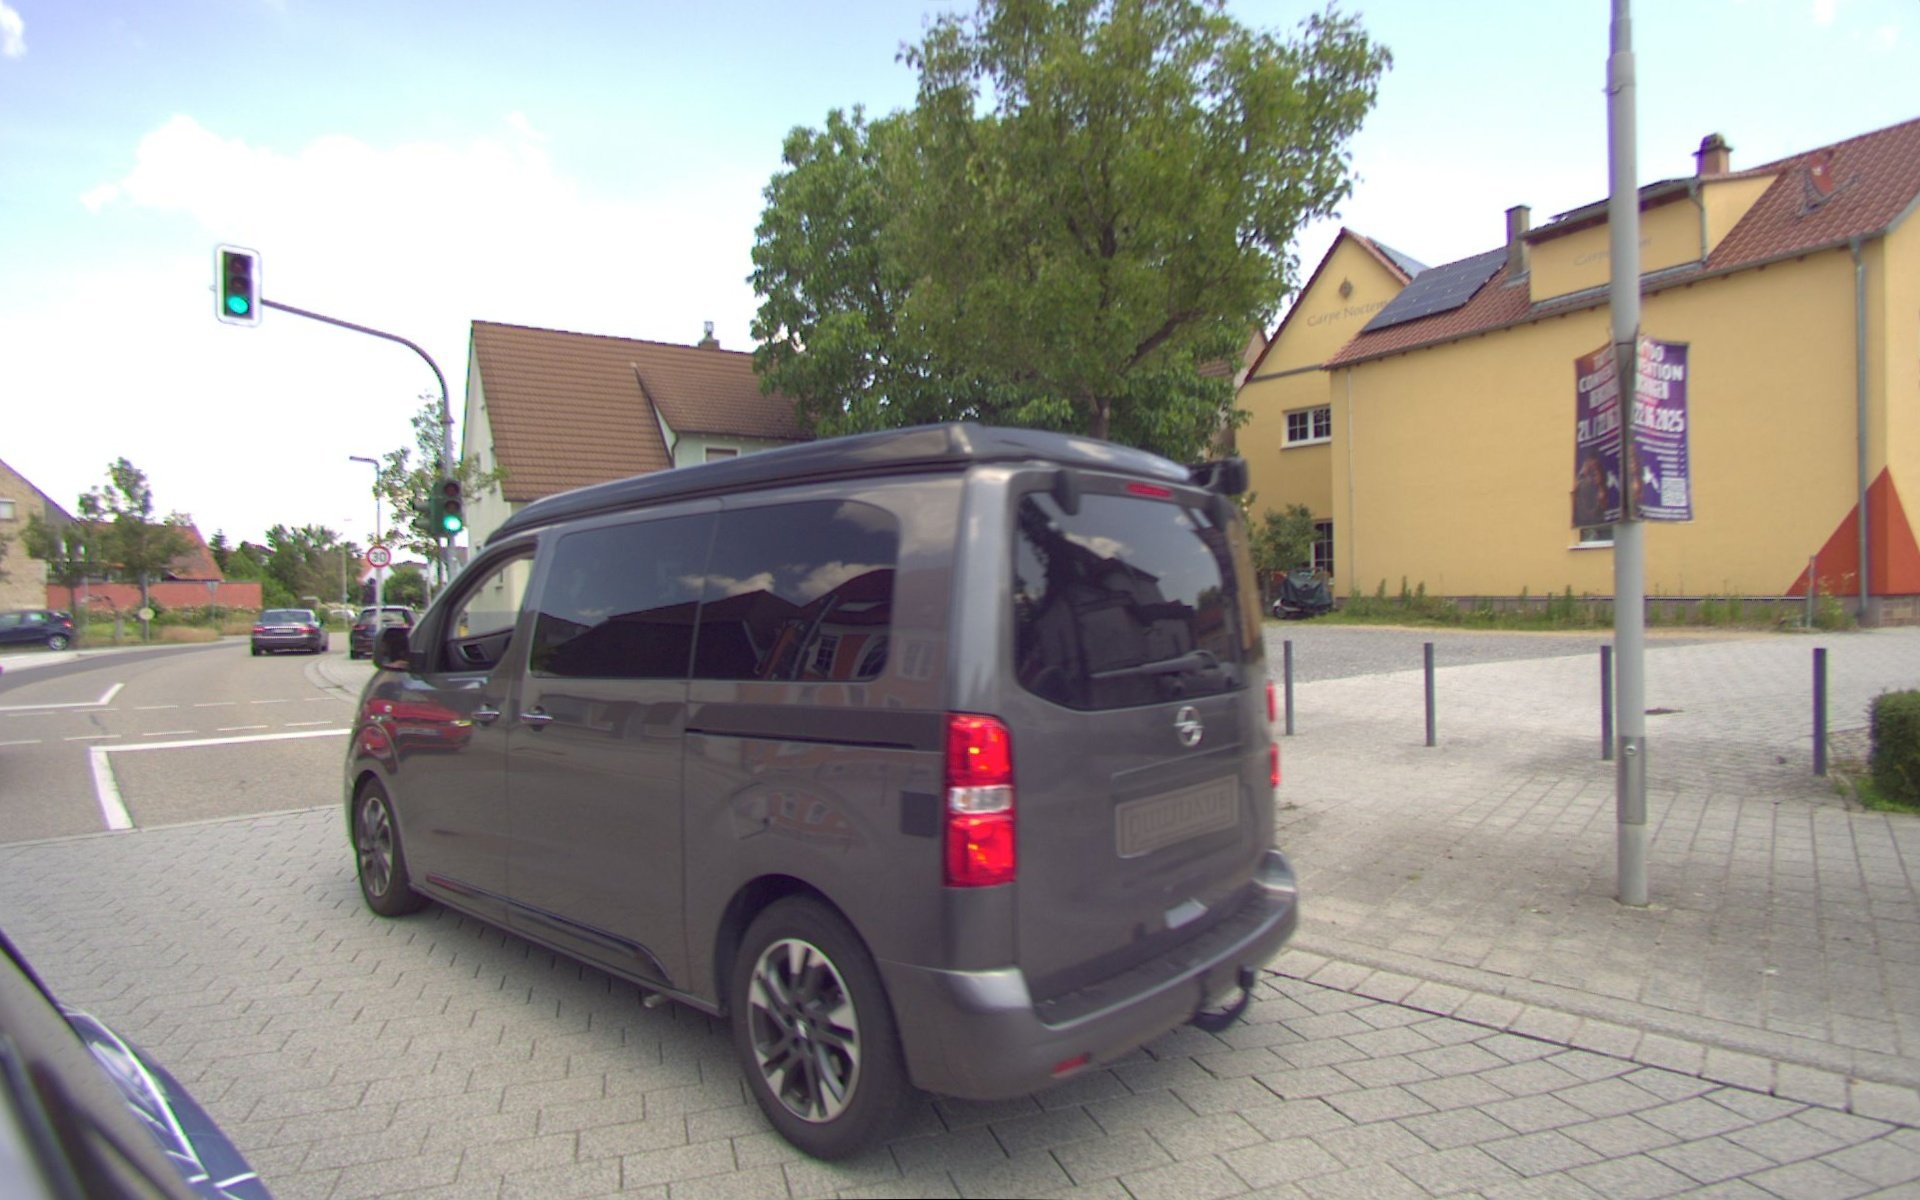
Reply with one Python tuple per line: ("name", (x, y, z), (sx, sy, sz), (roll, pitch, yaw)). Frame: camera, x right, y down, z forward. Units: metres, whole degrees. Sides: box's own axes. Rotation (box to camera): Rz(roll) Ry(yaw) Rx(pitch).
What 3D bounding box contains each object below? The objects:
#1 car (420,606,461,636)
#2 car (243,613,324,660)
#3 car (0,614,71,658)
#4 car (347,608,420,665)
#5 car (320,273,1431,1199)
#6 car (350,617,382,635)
("car", (-28.944, 1.139, 56.454), (1.632, 1.586, 3.704), (-1, 0, -21))
("car", (-22.078, 1.164, 33.177), (1.858, 1.446, 4.610), (0, -1, -30))
("car", (-36.922, 1.429, 39.322), (3.494, 1.605, 1.669), (-2, 0, -40))
("car", (-16.817, 1.007, 29.650), (1.708, 1.502, 4.514), (-1, 0, -29))
("car", (-0.846, 0.434, 4.268), (4.739, 2.029, 1.972), (-2, -1, 43))
("car", (-42.999, 1.857, 73.328), (1.966, 1.198, 4.012), (0, 0, -29))
